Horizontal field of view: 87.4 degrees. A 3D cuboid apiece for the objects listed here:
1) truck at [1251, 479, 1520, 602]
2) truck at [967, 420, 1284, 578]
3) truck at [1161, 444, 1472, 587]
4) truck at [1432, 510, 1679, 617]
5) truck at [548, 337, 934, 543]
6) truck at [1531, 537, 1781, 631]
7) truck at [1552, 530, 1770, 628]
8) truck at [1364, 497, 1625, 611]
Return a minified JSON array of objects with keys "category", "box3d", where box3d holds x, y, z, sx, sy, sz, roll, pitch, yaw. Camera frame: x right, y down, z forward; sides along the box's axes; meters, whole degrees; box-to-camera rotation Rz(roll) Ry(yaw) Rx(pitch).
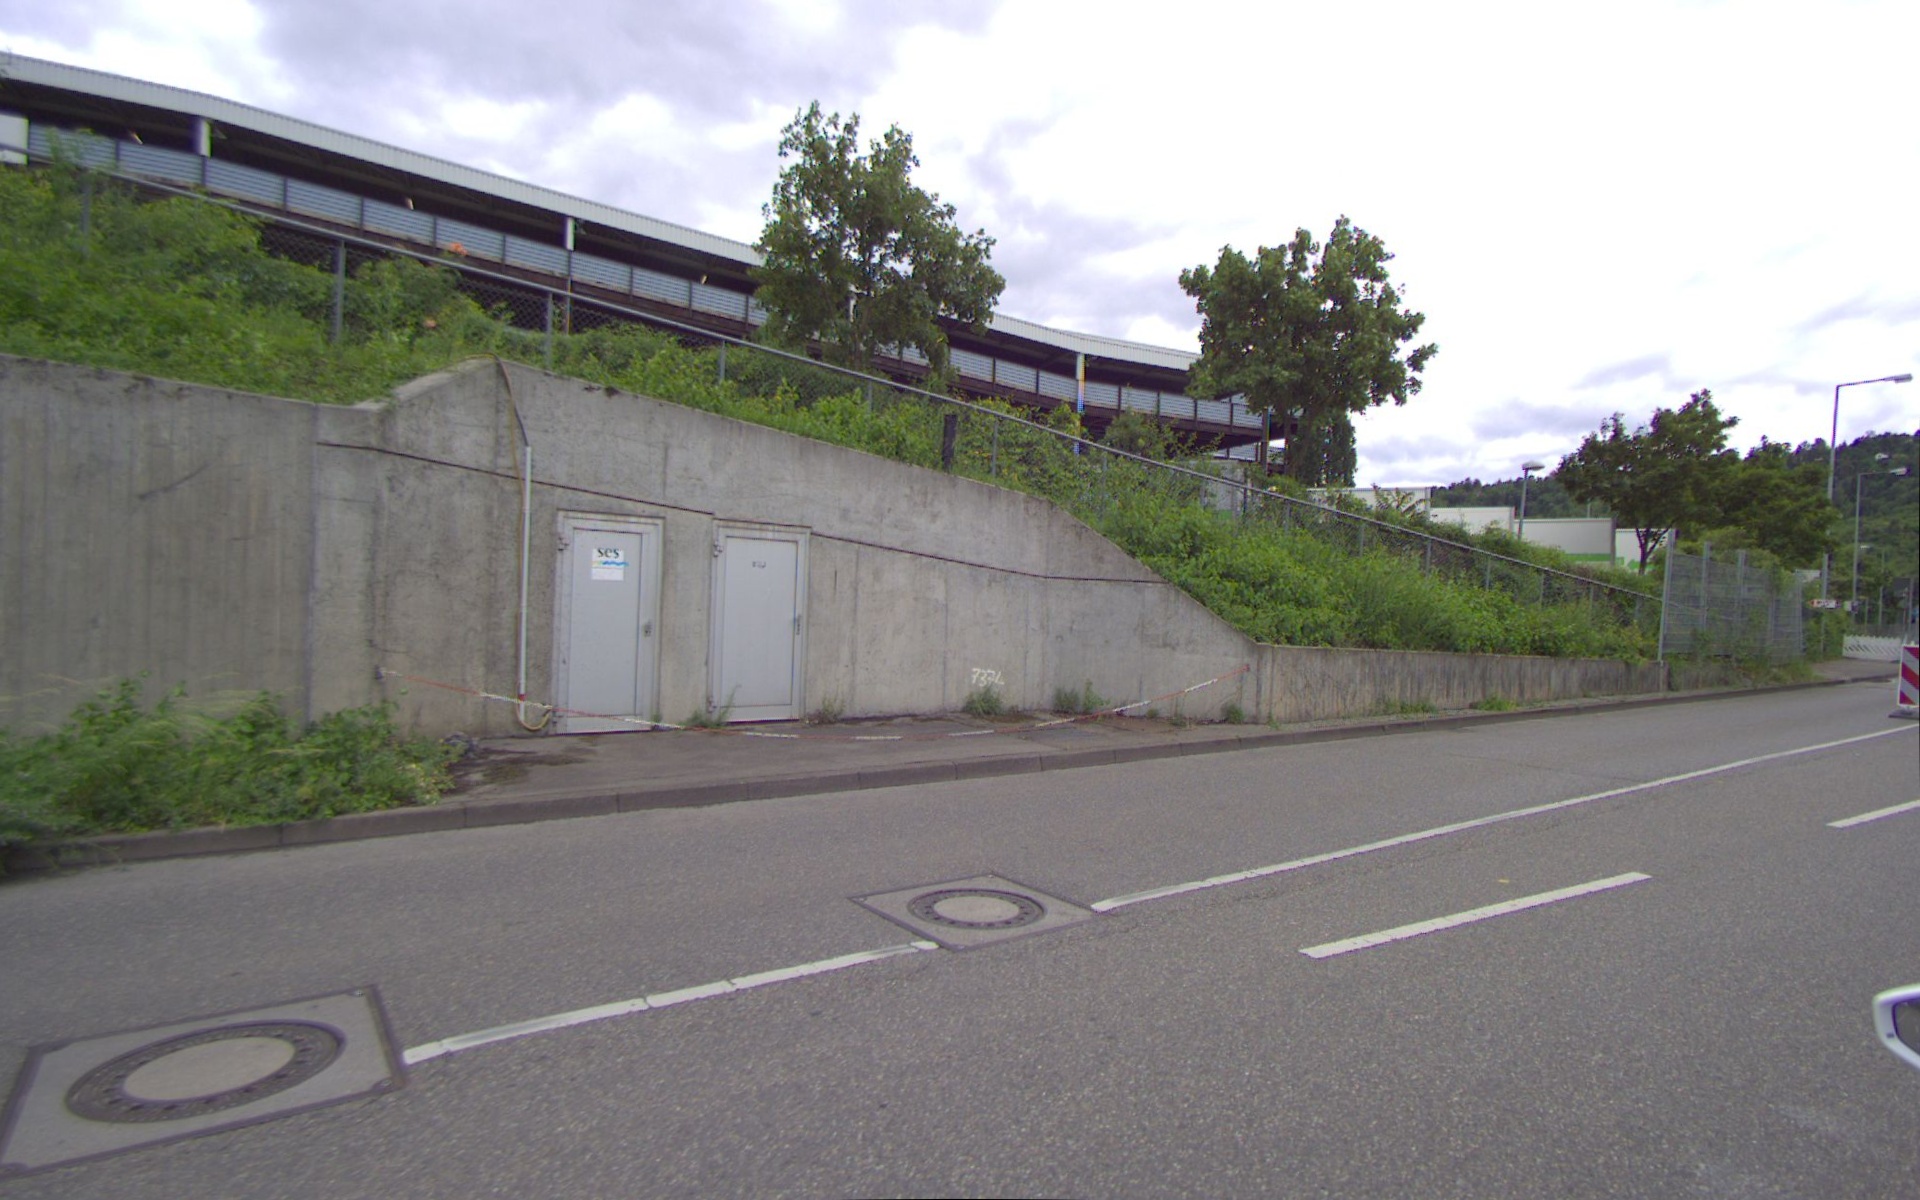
[{"category":"truck","box3d":[13.975,-1.991,33.421,7.717,3.584,3.051,3,-1,24]},{"category":"truck","box3d":[4.415,-2.652,26.992,7.717,3.584,3.051,3,-1,24]},{"category":"truck","box3d":[10.256,-2.435,29.266,8.000,3.584,3.051,3,-1,24]},{"category":"truck","box3d":[22.425,-1.417,38.449,7.720,3.584,3.050,3,-1,26]},{"category":"truck","box3d":[-4.787,-3.275,21.790,7.717,3.584,3.051,3,-1,24]},{"category":"truck","box3d":[33.447,-0.858,48.665,9.513,4.043,3.036,3,0,42]},{"category":"truck","box3d":[31.743,-0.993,45.709,7.749,4.043,3.038,3,0,41]},{"category":"truck","box3d":[18.804,-1.668,35.743,7.725,3.584,3.048,3,-1,29]}]
